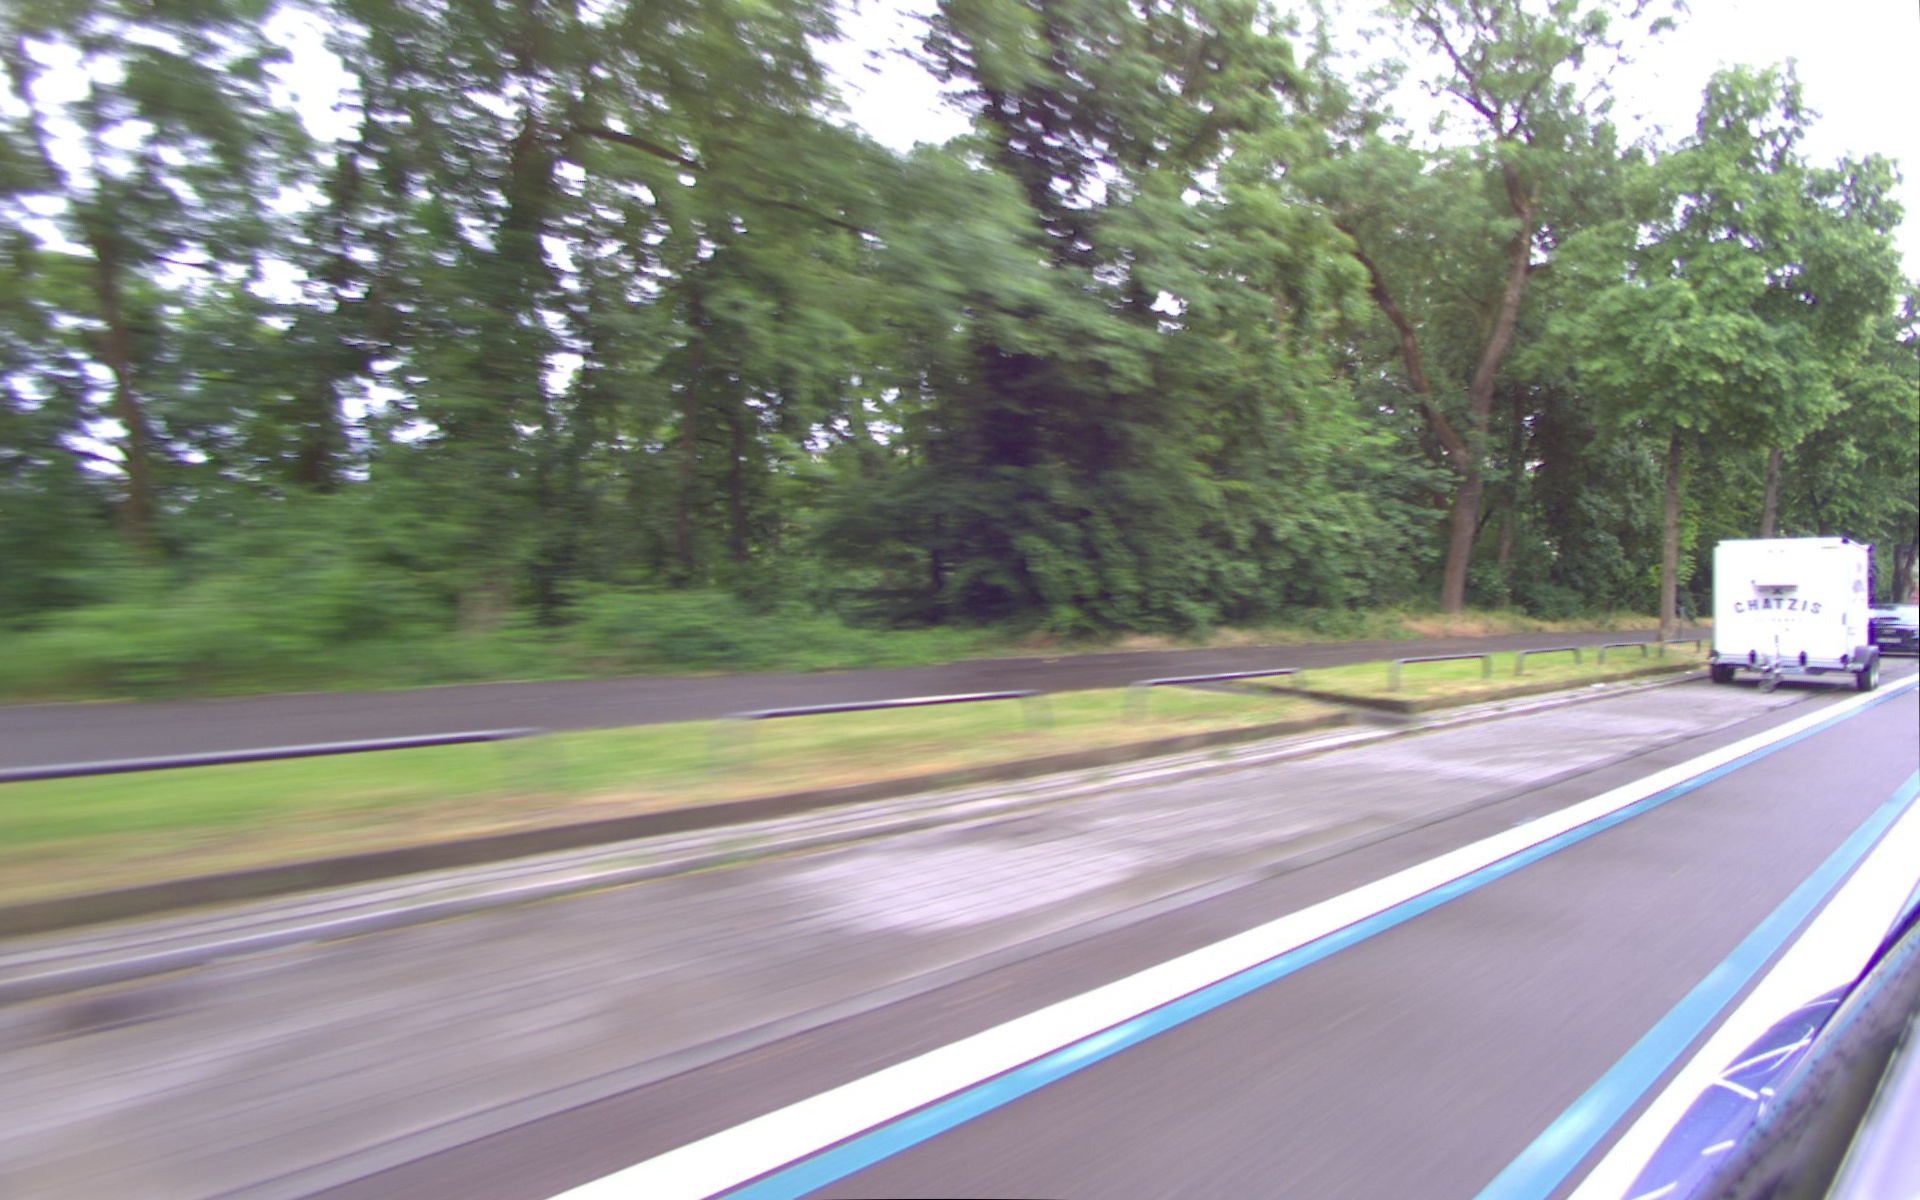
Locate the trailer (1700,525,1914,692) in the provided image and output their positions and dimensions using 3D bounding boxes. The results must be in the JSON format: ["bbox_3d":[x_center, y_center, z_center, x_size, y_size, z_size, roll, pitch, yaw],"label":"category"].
[{"bbox_3d":[14.997,0.098,17.867,3.930,2.597,2.283,0,1,-41],"label":"trailer"}]

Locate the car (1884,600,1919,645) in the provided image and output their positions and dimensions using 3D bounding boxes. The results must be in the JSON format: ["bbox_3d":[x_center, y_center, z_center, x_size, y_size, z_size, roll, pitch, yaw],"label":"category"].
[{"bbox_3d":[31.814,0.723,33.222,3.931,1.395,1.802,0,1,-42],"label":"car"}]

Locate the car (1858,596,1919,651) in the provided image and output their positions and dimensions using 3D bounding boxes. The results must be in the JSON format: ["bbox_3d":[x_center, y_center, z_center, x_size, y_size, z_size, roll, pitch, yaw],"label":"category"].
[{"bbox_3d":[27.419,0.641,29.206,3.931,1.482,1.802,0,1,-42],"label":"car"}]
